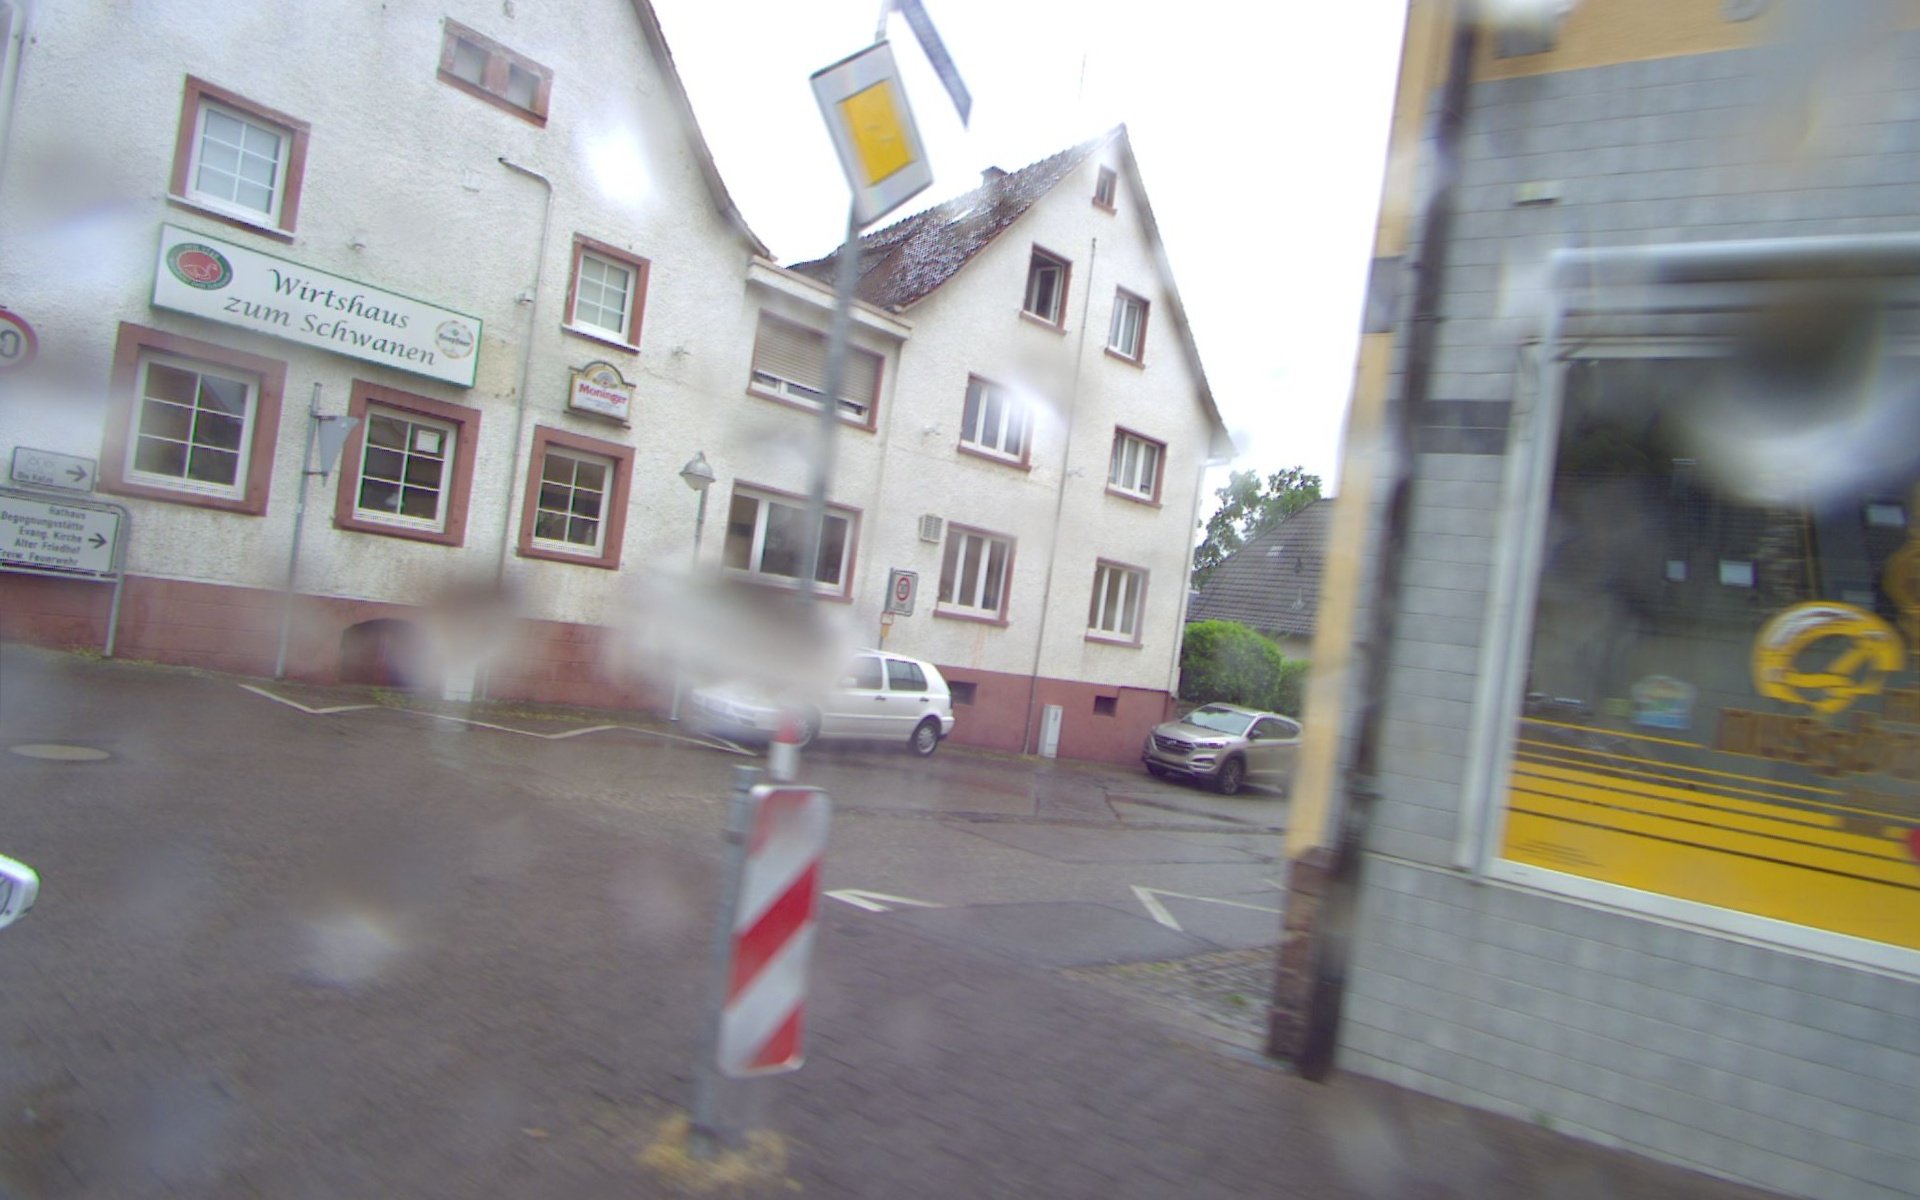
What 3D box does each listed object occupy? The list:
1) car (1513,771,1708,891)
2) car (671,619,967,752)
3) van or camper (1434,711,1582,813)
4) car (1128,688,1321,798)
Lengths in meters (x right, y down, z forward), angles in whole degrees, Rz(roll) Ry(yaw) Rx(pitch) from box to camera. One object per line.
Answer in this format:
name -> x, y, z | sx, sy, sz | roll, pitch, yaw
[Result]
car -> 11.048, 3.867, 16.970 | 4.001, 1.475, 1.831 | 13, -6, -43
car -> -1.861, 1.281, 14.300 | 1.639, 1.389, 3.950 | 8, -2, 40
van or camper -> 17.268, 5.139, 31.534 | 5.867, 2.506, 2.061 | 12, -2, -43
car -> 5.461, 2.951, 20.506 | 4.003, 1.630, 1.805 | 13, -3, -44
